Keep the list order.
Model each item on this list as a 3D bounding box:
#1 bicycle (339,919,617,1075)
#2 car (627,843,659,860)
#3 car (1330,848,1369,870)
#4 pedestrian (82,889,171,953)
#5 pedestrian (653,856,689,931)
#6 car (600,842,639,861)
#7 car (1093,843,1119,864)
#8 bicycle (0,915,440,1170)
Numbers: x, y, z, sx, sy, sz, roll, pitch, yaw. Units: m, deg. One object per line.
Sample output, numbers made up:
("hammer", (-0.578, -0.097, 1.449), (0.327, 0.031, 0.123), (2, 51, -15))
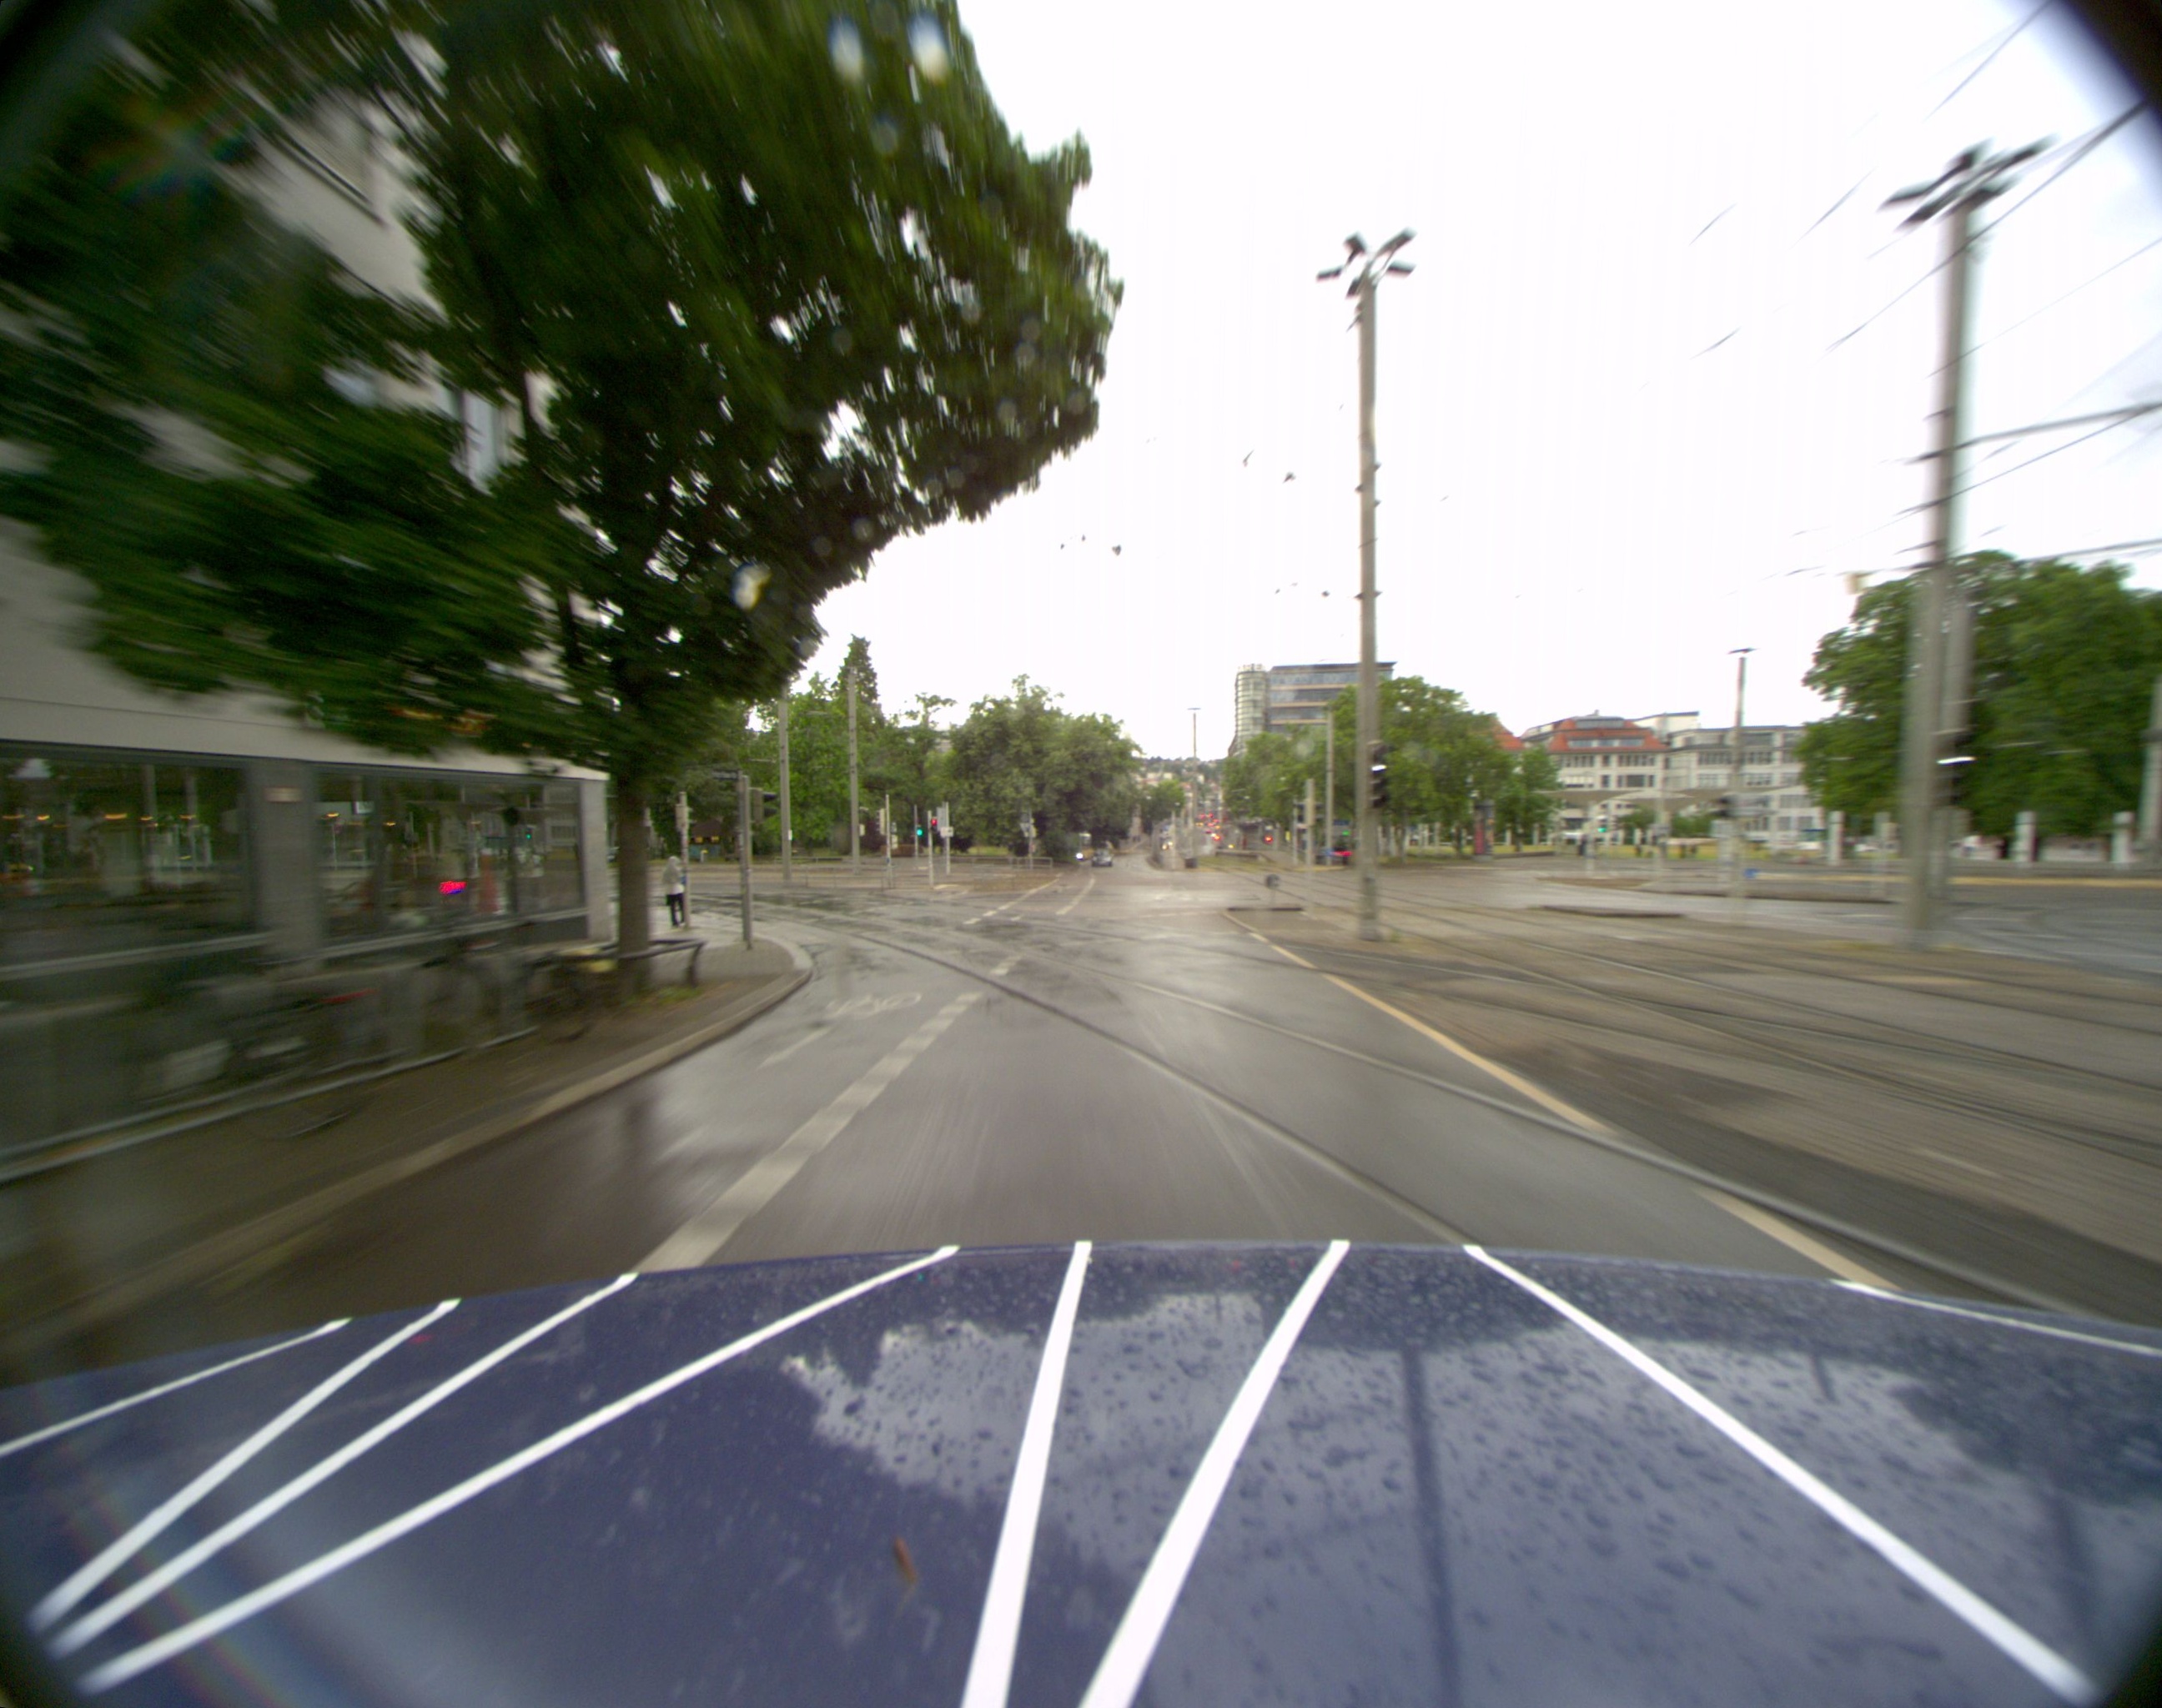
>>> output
("bicycle", (-4.800, 1.103, 6.098), (1.820, 1.085, 0.650), (0, 0, 7))
("car", (-37.951, -0.247, 65.950), (1.704, 1.440, 3.533), (-1, 1, -19))
("car", (20.674, 0.337, 58.660), (2.102, 1.497, 4.734), (0, 1, 10))
("pedestrian", (-18.909, 1.308, 15.077), (0.567, 1.184, 0.919), (0, 1, 8))
("pedestrian", (-9.654, 0.901, 17.892), (0.529, 1.703, 0.703), (-2, 2, -44))
("car", (-36.591, -0.232, 60.375), (1.703, 1.440, 3.534), (-1, 1, -15))
("car", (2.164, -0.040, 65.035), (1.998, 1.696, 4.001), (0, 1, 6))
("bicycle", (-4.902, 0.966, 4.194), (2.320, 1.167, 0.649), (0, 2, 7))
